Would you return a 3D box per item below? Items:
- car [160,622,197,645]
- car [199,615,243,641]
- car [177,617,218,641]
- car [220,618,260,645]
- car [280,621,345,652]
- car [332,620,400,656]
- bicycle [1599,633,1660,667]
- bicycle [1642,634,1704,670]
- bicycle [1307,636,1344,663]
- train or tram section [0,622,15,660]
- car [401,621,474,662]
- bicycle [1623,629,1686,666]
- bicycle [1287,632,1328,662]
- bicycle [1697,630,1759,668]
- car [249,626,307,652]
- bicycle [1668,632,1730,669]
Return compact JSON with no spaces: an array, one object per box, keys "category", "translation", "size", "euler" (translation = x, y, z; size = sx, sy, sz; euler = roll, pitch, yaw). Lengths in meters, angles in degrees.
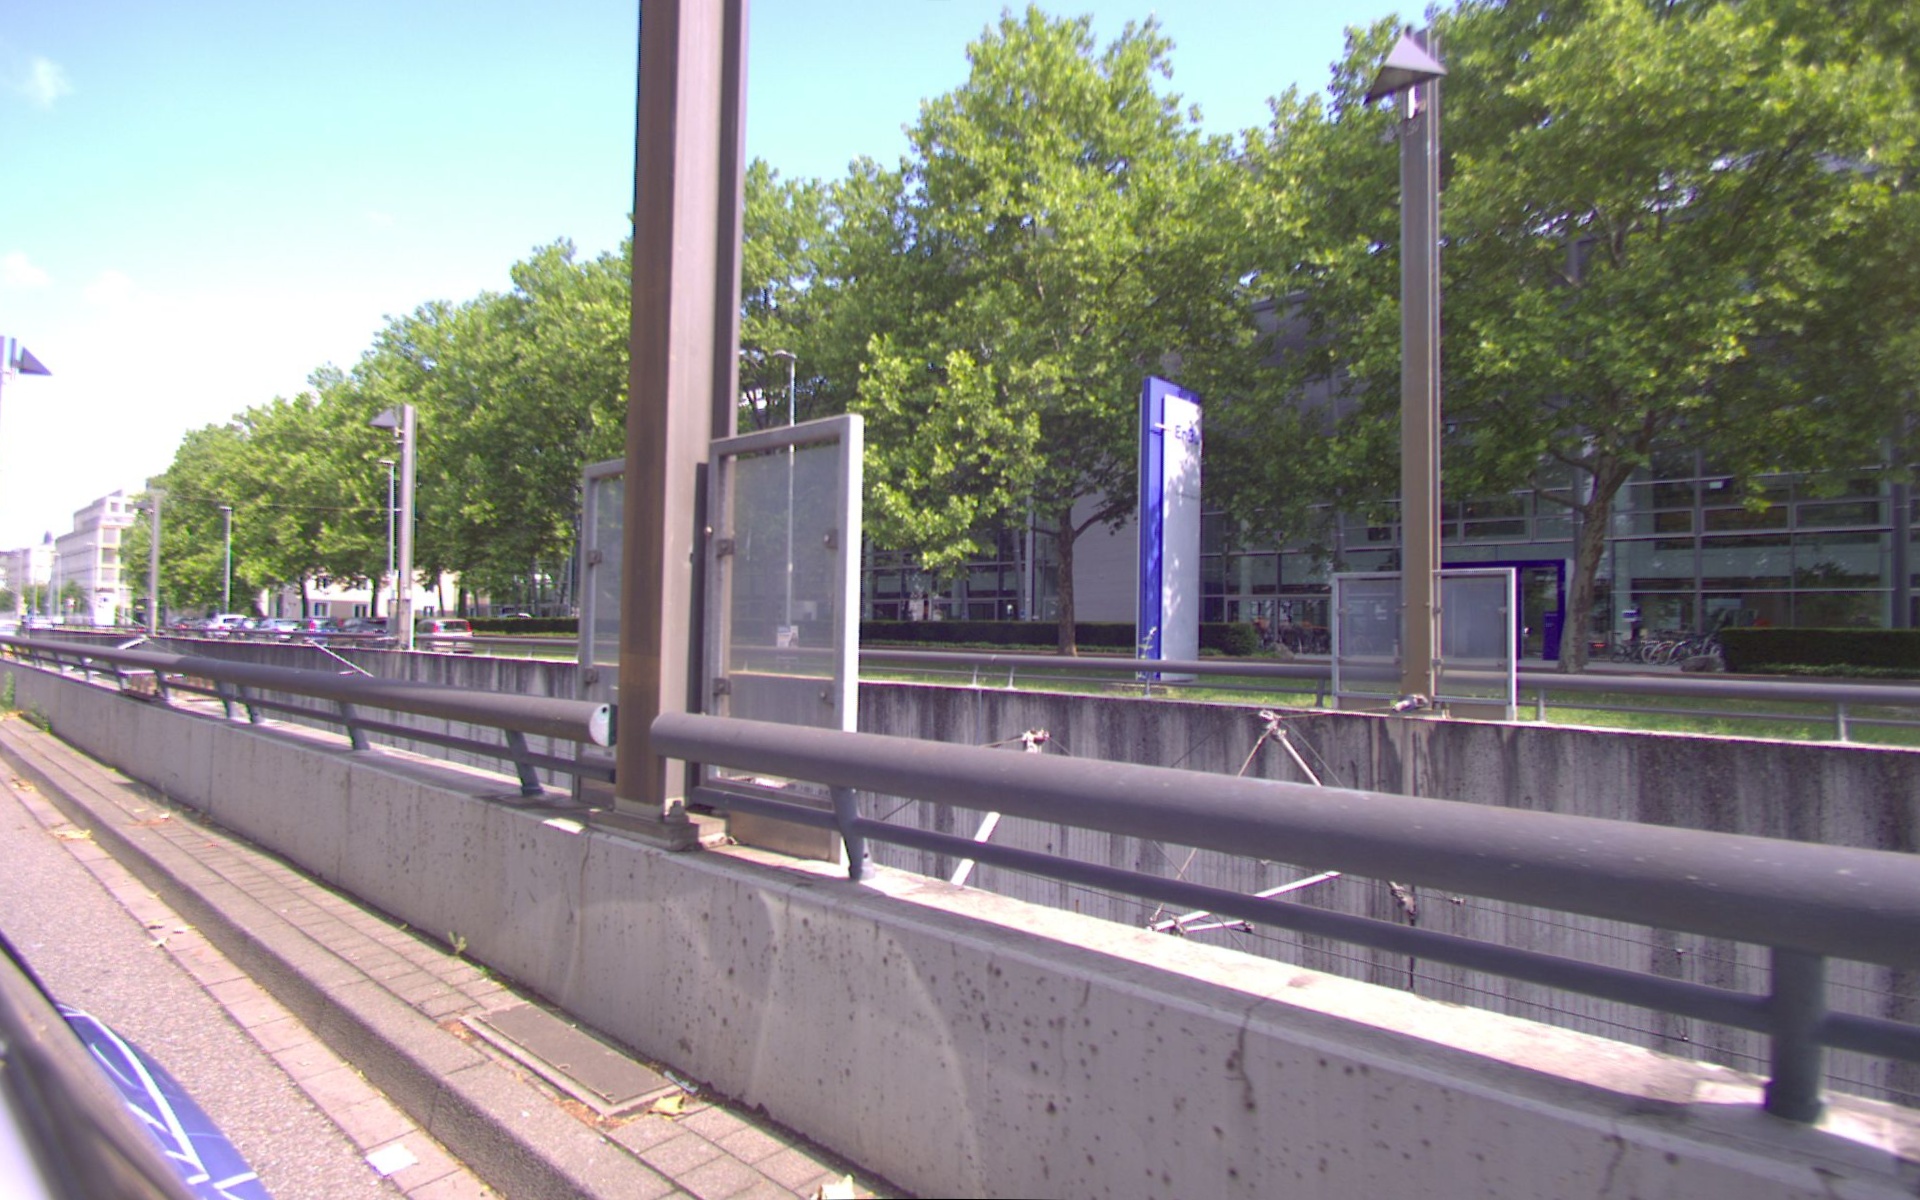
[{"category":"car","translation":[-49.071,2.076,63.542],"size":[3.184,1.387,1.291],"euler":[-1,-2,42]},{"category":"car","translation":[-40.991,1.559,56.126],"size":[3.184,1.387,1.291],"euler":[-1,-2,42]},{"category":"car","translation":[-45.029,1.717,59.737],"size":[3.184,1.387,1.291],"euler":[-1,-2,42]},{"category":"car","translation":[-38.121,1.643,53.573],"size":[2.744,1.387,1.152],"euler":[-1,-2,42]},{"category":"car","translation":[-30.268,1.671,47.263],"size":[3.895,1.387,1.559],"euler":[-1,-2,42]},{"category":"car","translation":[-25.018,1.591,42.569],"size":[3.156,1.445,1.561],"euler":[-1,-2,42]},{"category":"bicycle","translation":[23.156,1.732,35.008],"size":[2.232,1.158,0.638],"euler":[1,-2,-24]},{"category":"bicycle","translation":[23.753,1.717,33.700],"size":[2.232,1.158,0.638],"euler":[1,-2,-24]},{"category":"bicycle","translation":[15.062,2.025,41.734],"size":[0.586,1.031,2.339],"euler":[0,-1,-2]},{"category":"train or tram section","translation":[-65.970,2.774,68.641],"size":[6.248,2.477,2.187],"euler":[-1,0,42]},{"category":"car","translation":[-19.727,1.560,38.158],"size":[3.156,1.467,1.402],"euler":[-1,-2,42]},{"category":"bicycle","translation":[23.459,1.607,34.159],"size":[2.232,1.158,0.638],"euler":[1,2,-24]},{"category":"bicycle","translation":[14.294,1.907,41.686],"size":[0.802,1.186,2.339],"euler":[0,-1,-2]},{"category":"bicycle","translation":[24.368,1.547,32.113],"size":[2.232,1.158,0.638],"euler":[2,-2,-27]},{"category":"car","translation":[-33.746,1.919,50.057],"size":[3.126,1.215,1.590],"euler":[-1,-2,41]},{"category":"bicycle","translation":[24.018,1.637,32.887],"size":[2.232,1.158,0.638],"euler":[1,-2,-25]}]
